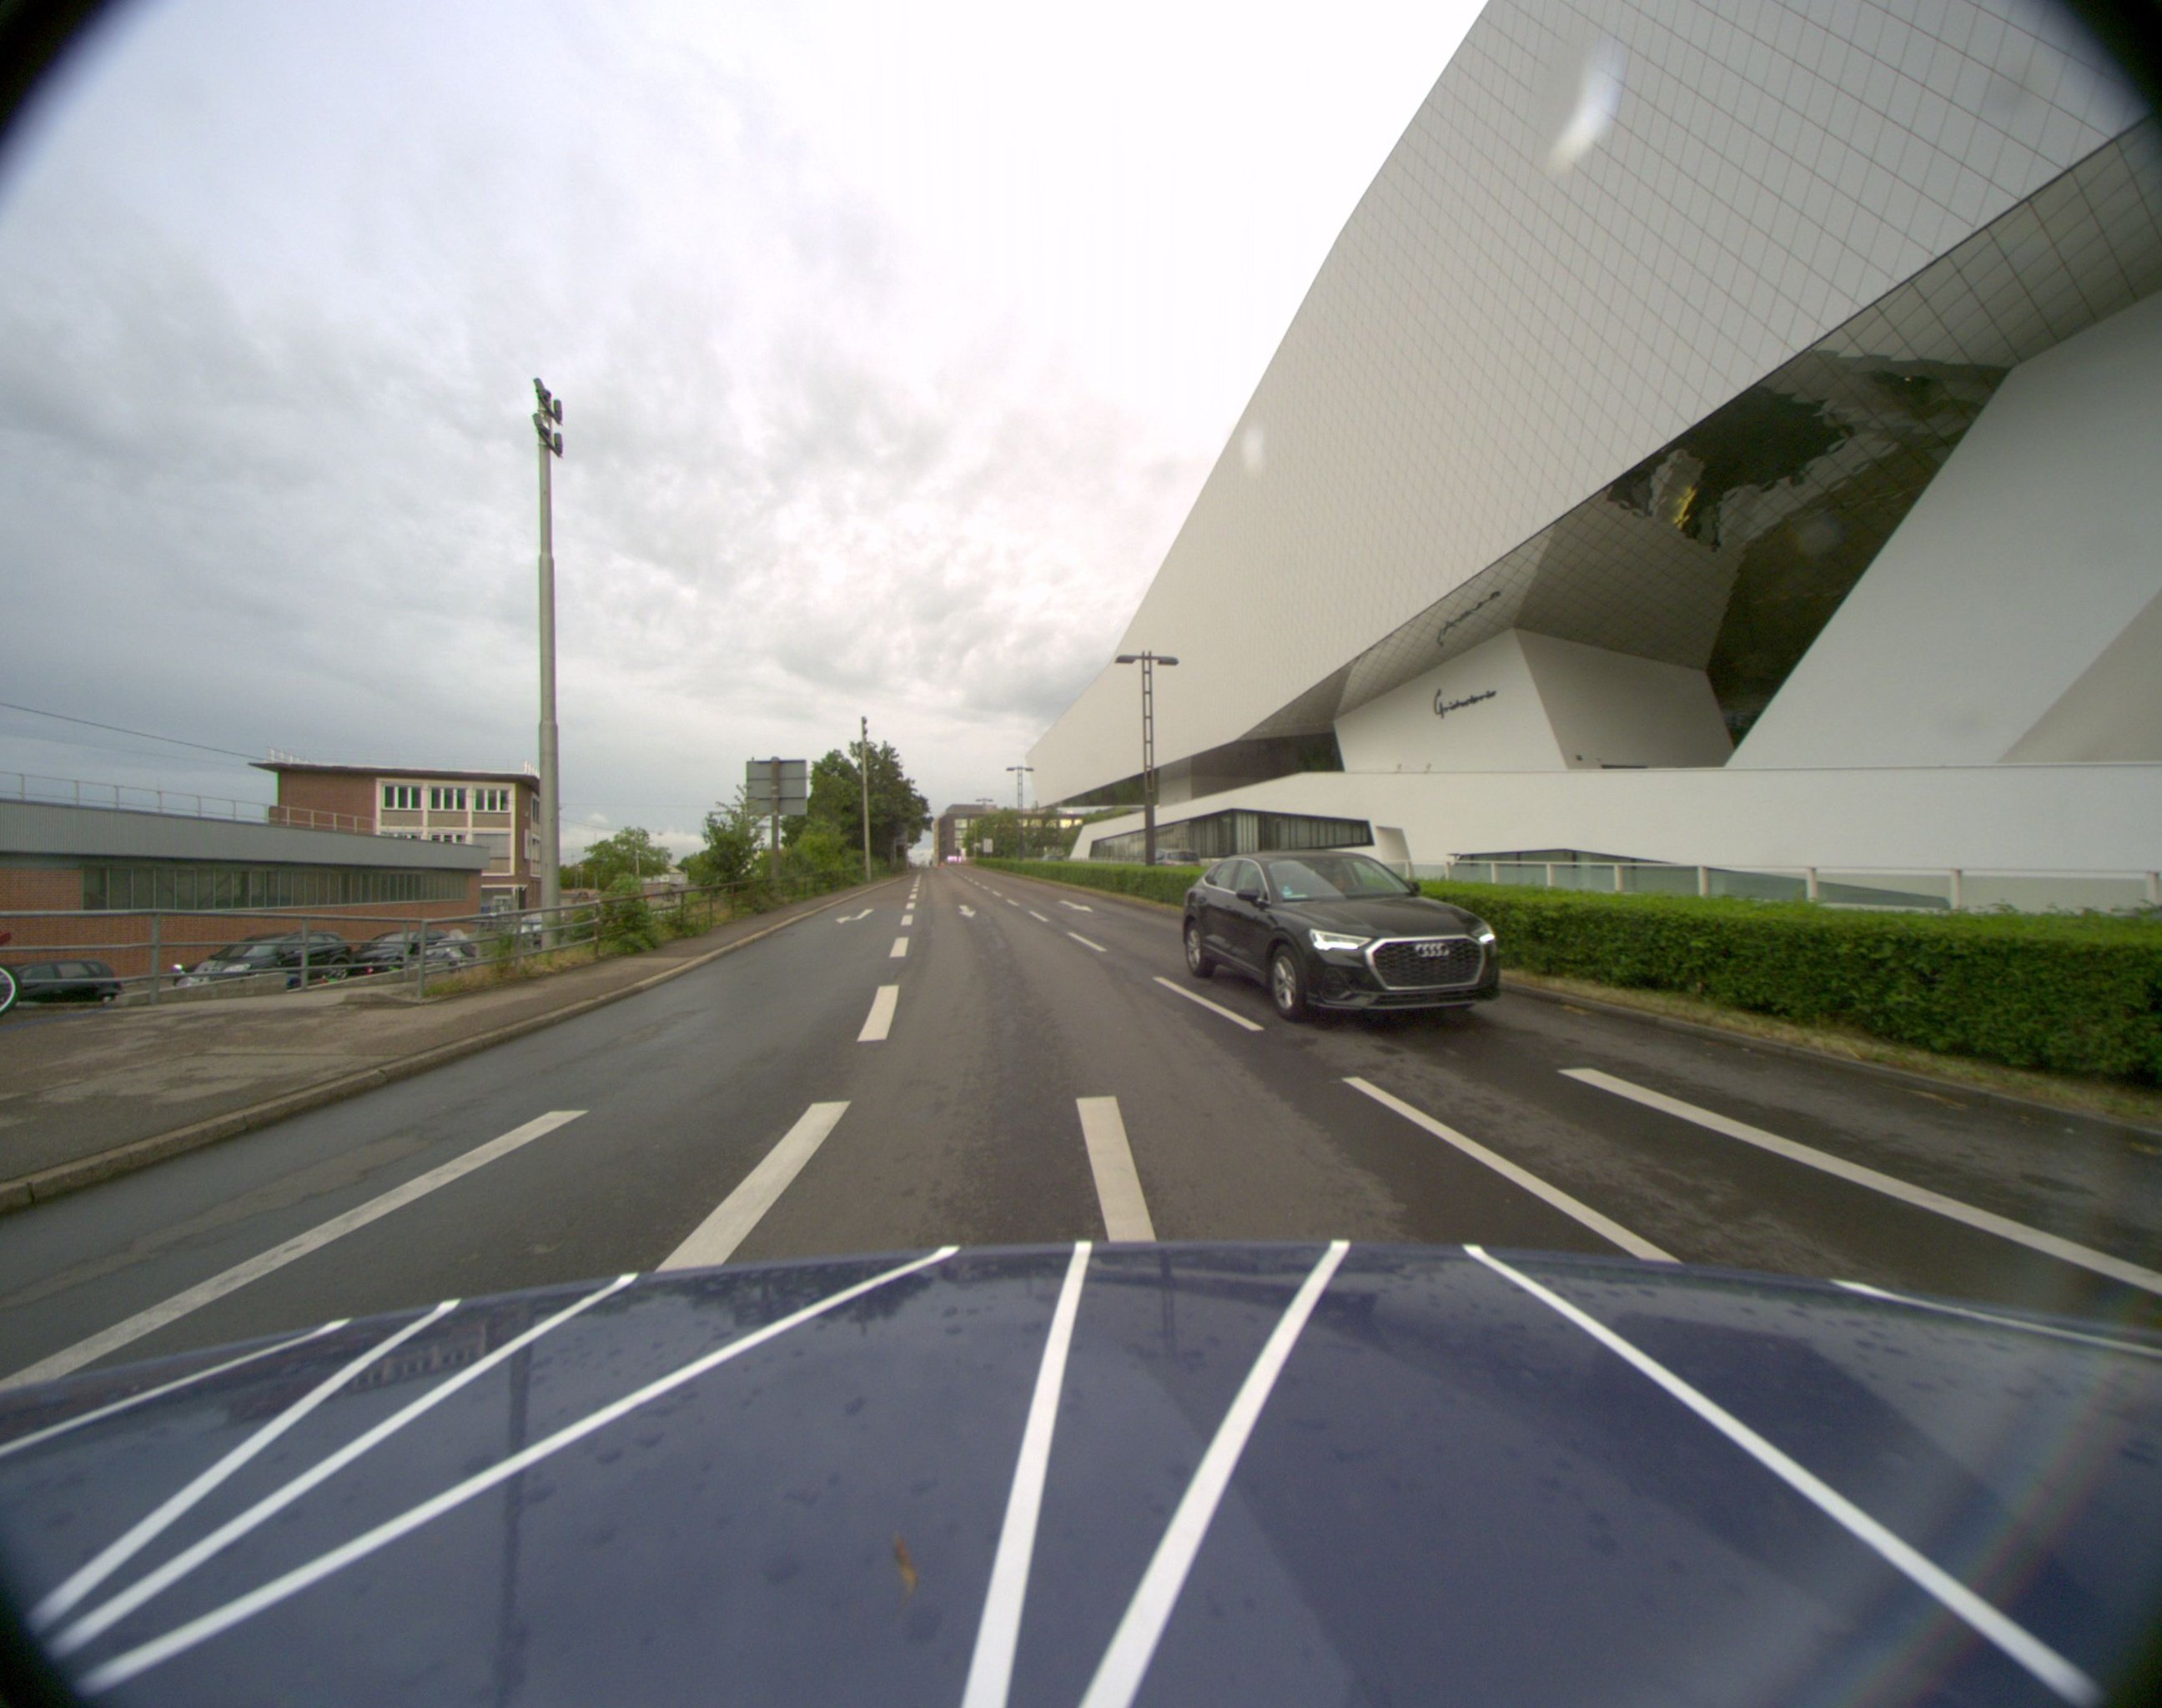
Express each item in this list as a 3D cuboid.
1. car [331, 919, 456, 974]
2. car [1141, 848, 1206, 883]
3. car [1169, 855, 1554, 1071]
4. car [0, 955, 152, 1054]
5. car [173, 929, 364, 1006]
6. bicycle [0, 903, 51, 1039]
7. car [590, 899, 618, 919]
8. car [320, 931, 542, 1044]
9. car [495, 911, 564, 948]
[{"bbox_3d":[-25.704,3.414,28.600,1.704,1.546,3.853,-1,0,-12],"label":"car"},{"bbox_3d":[4.139,0.500,34.644,1.839,1.485,3.996,-1,0,-10],"label":"car"},{"bbox_3d":[2.440,0.818,7.937,1.842,1.574,4.285,-1,0,-10],"label":"car"},{"bbox_3d":[-23.013,3.275,16.320,1.704,1.618,3.927,-1,0,-11],"label":"car"},{"bbox_3d":[-24.297,3.307,22.984,1.638,1.621,4.425,-1,0,-12],"label":"car"},{"bbox_3d":[-10.570,1.059,6.541,1.935,1.171,0.598,-1,1,-26],"label":"bicycle"},{"bbox_3d":[-42.031,4.825,67.029,1.670,1.387,3.992,-2,0,-27],"label":"car"},{"bbox_3d":[-12.794,2.540,15.303,1.704,1.546,3.853,-1,0,-12],"label":"car"},{"bbox_3d":[-30.003,4.069,41.458,1.704,1.546,3.852,-1,0,-14],"label":"car"}]
